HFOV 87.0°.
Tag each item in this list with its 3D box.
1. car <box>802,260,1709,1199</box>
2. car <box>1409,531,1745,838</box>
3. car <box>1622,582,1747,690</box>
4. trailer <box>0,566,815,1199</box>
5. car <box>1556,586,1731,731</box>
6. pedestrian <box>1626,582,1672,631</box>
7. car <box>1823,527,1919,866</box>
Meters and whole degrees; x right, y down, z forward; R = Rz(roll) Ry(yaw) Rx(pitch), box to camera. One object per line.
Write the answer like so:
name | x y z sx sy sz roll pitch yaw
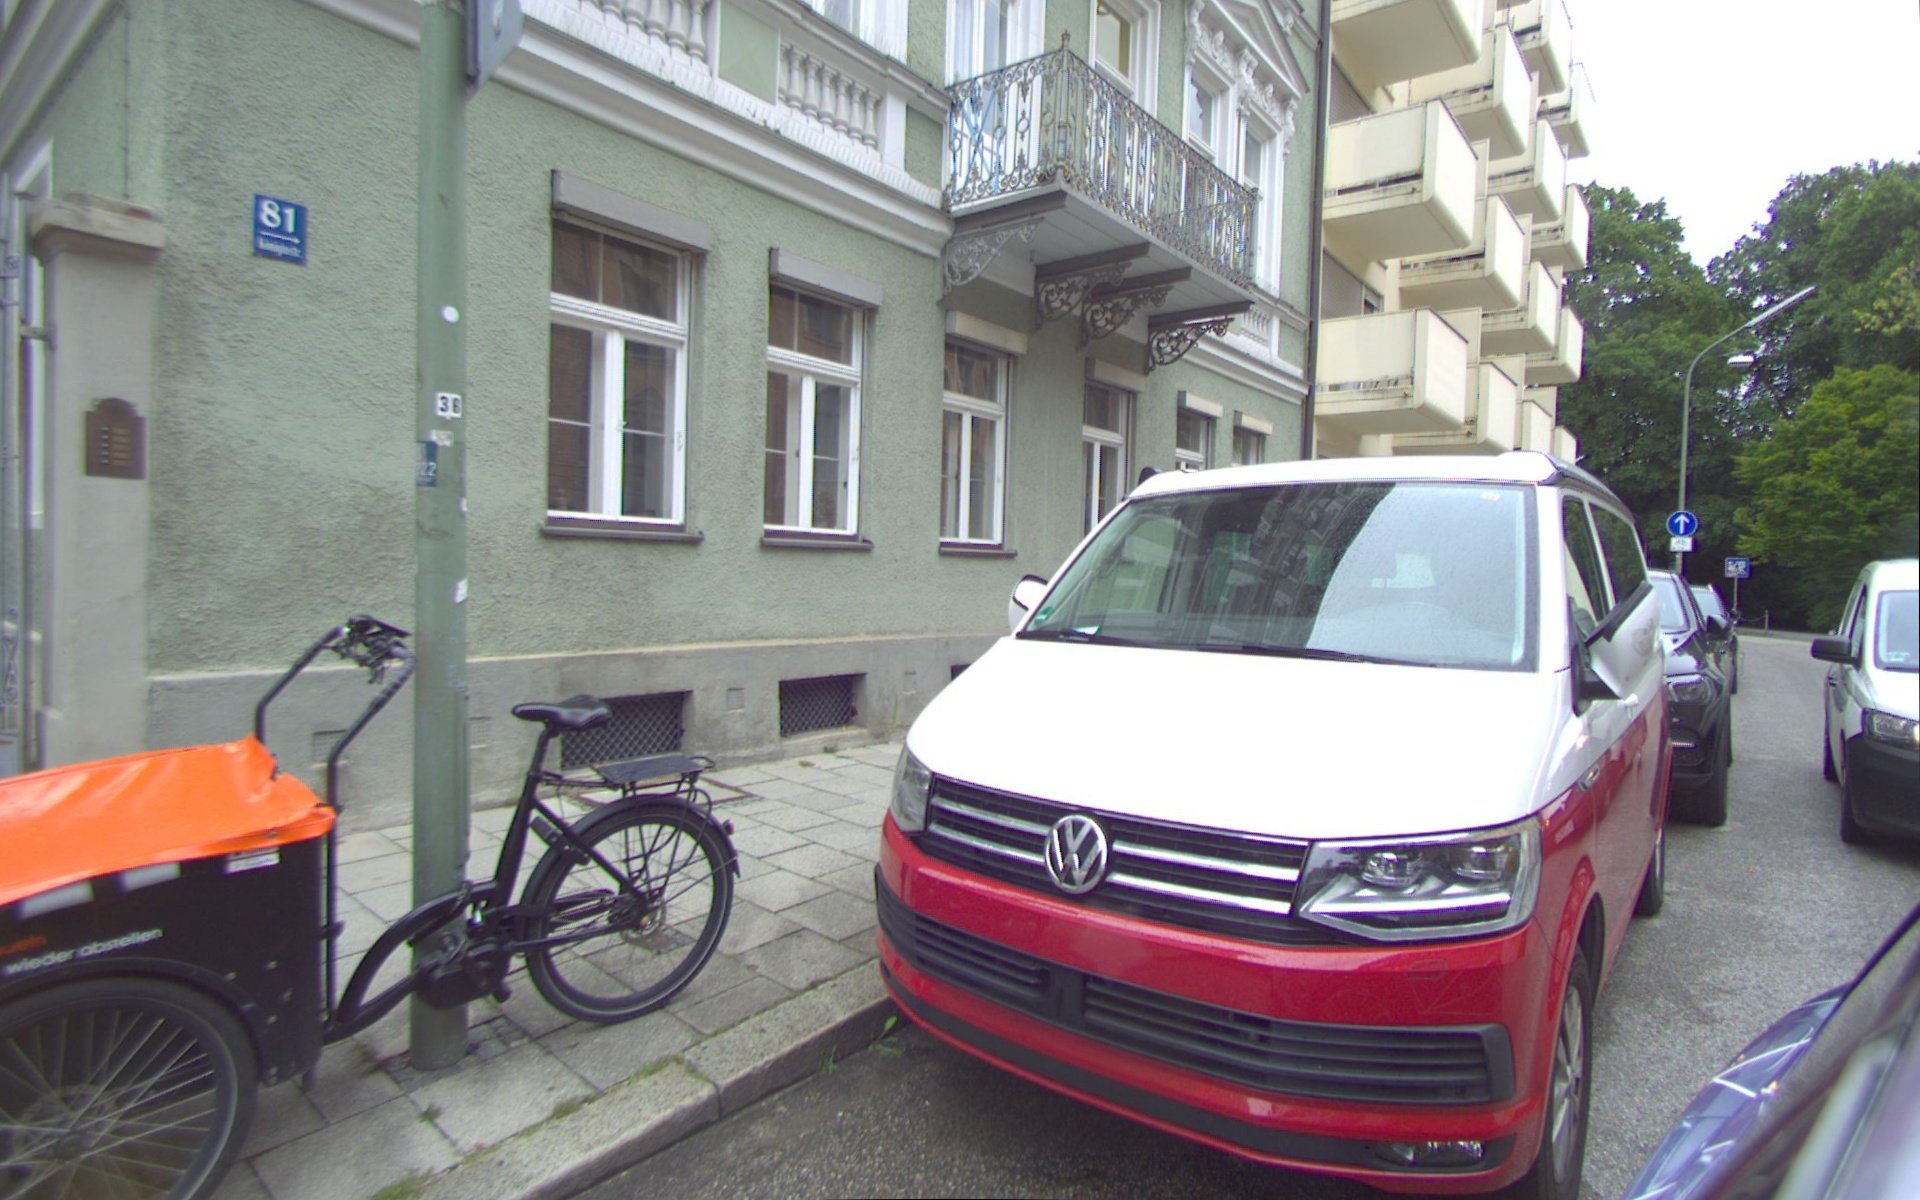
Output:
car | 1.689 0.388 4.009 1.851 1.920 4.526 0 0 39
car | 5.215 0.485 8.230 1.824 1.780 4.490 1 0 38
car | 12.268 0.516 17.039 1.544 1.591 3.923 1 1 38
trailer | -1.535 0.561 2.594 0.943 1.198 2.130 7 5 43
car | 8.655 0.603 12.675 1.544 1.515 3.923 1 1 38
pedestrian | 25.890 0.221 38.037 1.060 1.822 1.089 0 1 12
car | 6.783 0.515 6.481 1.769 1.794 3.943 2 2 39
